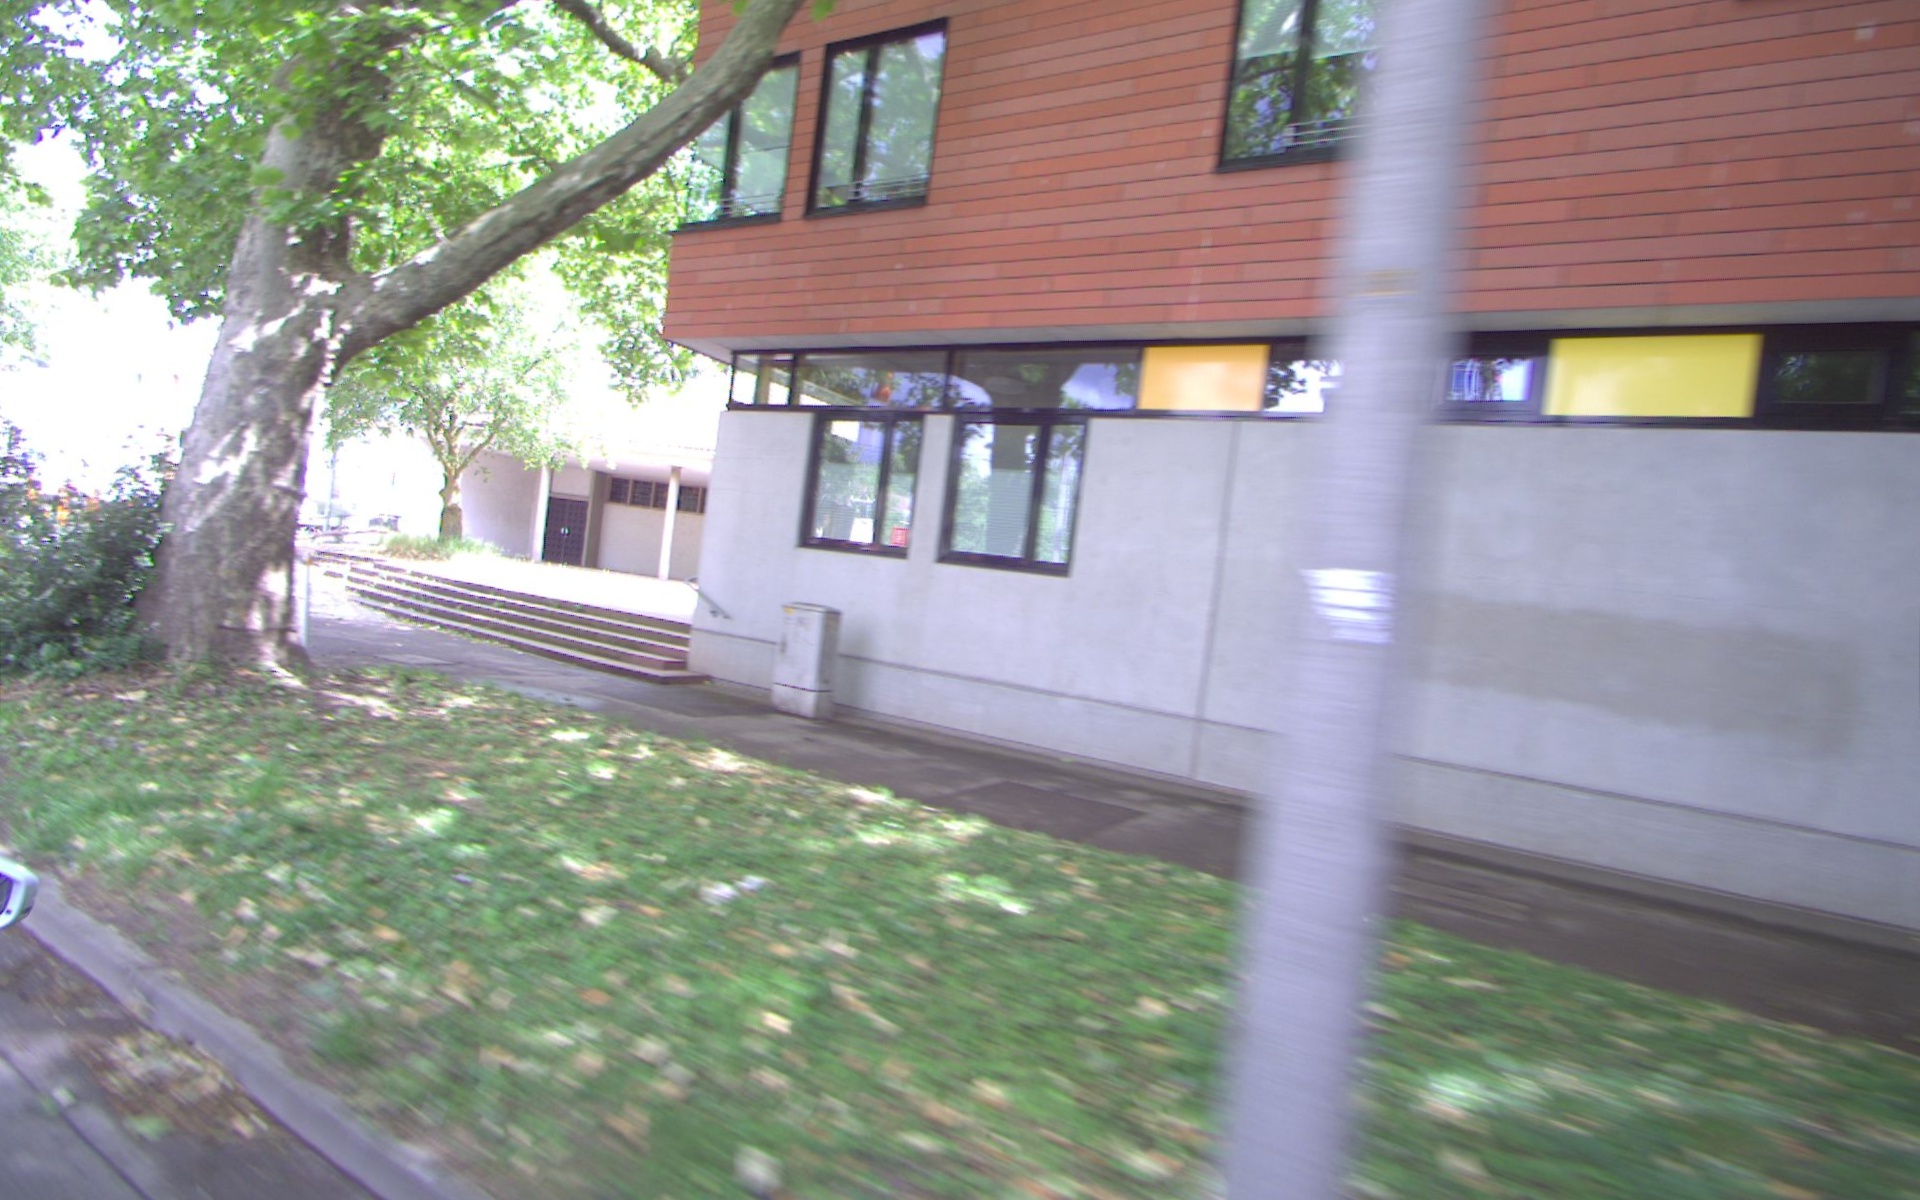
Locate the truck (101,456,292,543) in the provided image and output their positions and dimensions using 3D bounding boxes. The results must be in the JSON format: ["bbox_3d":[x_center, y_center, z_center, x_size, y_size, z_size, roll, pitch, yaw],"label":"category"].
[{"bbox_3d":[-30.778,-3.969,40.952,2.621,2.761,6.388,8,2,1],"label":"truck"}]

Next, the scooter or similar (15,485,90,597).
[{"bbox_3d":[-11.066,-0.729,12.259,0.562,1.248,1.179,6,2,-44],"label":"scooter or similar"}]

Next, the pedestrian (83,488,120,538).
[{"bbox_3d":[-29.664,-3.001,34.757,0.758,1.570,0.892,8,2,-36],"label":"pedestrian"}]

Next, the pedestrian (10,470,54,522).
[{"bbox_3d":[-32.833,-3.671,35.610,0.697,1.687,0.825,8,-1,-18],"label":"pedestrian"}]

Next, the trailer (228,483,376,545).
[{"bbox_3d":[-30.702,-3.946,47.289,2.621,2.243,6.241,8,2,1],"label":"trailer"}]
